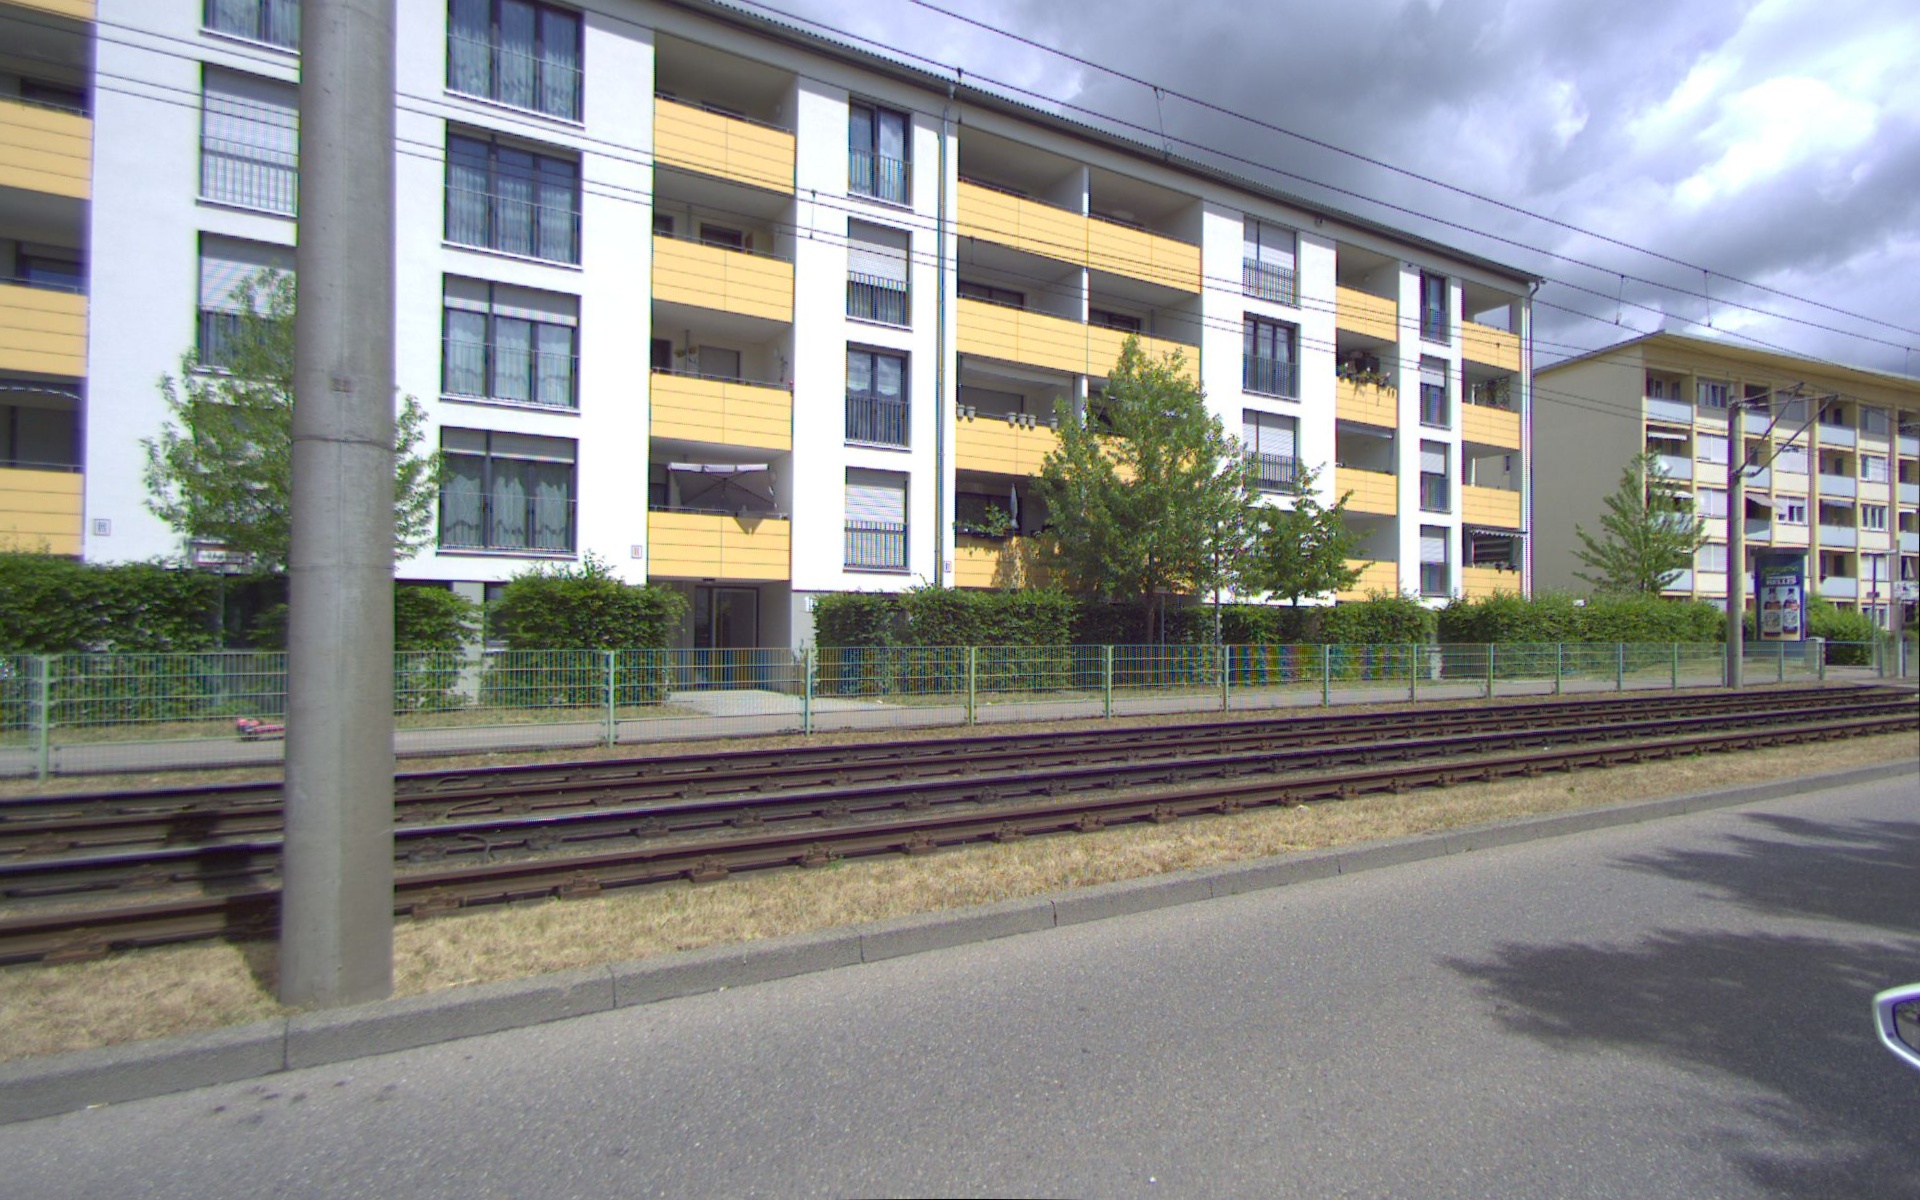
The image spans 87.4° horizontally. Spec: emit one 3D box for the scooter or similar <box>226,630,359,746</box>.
[{"bbox_3d":[-7.939,1.023,12.001,1.286,1.310,0.487,1,-1,-31],"label":"scooter or similar"}]

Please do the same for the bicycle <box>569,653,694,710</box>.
[{"bbox_3d":[-6.185,1.516,18.976,2.186,0.992,0.552,1,-1,-29],"label":"bicycle"}]

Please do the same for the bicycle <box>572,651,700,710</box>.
[{"bbox_3d":[-5.947,1.456,18.514,2.186,0.992,0.552,1,-1,-29],"label":"bicycle"}]
